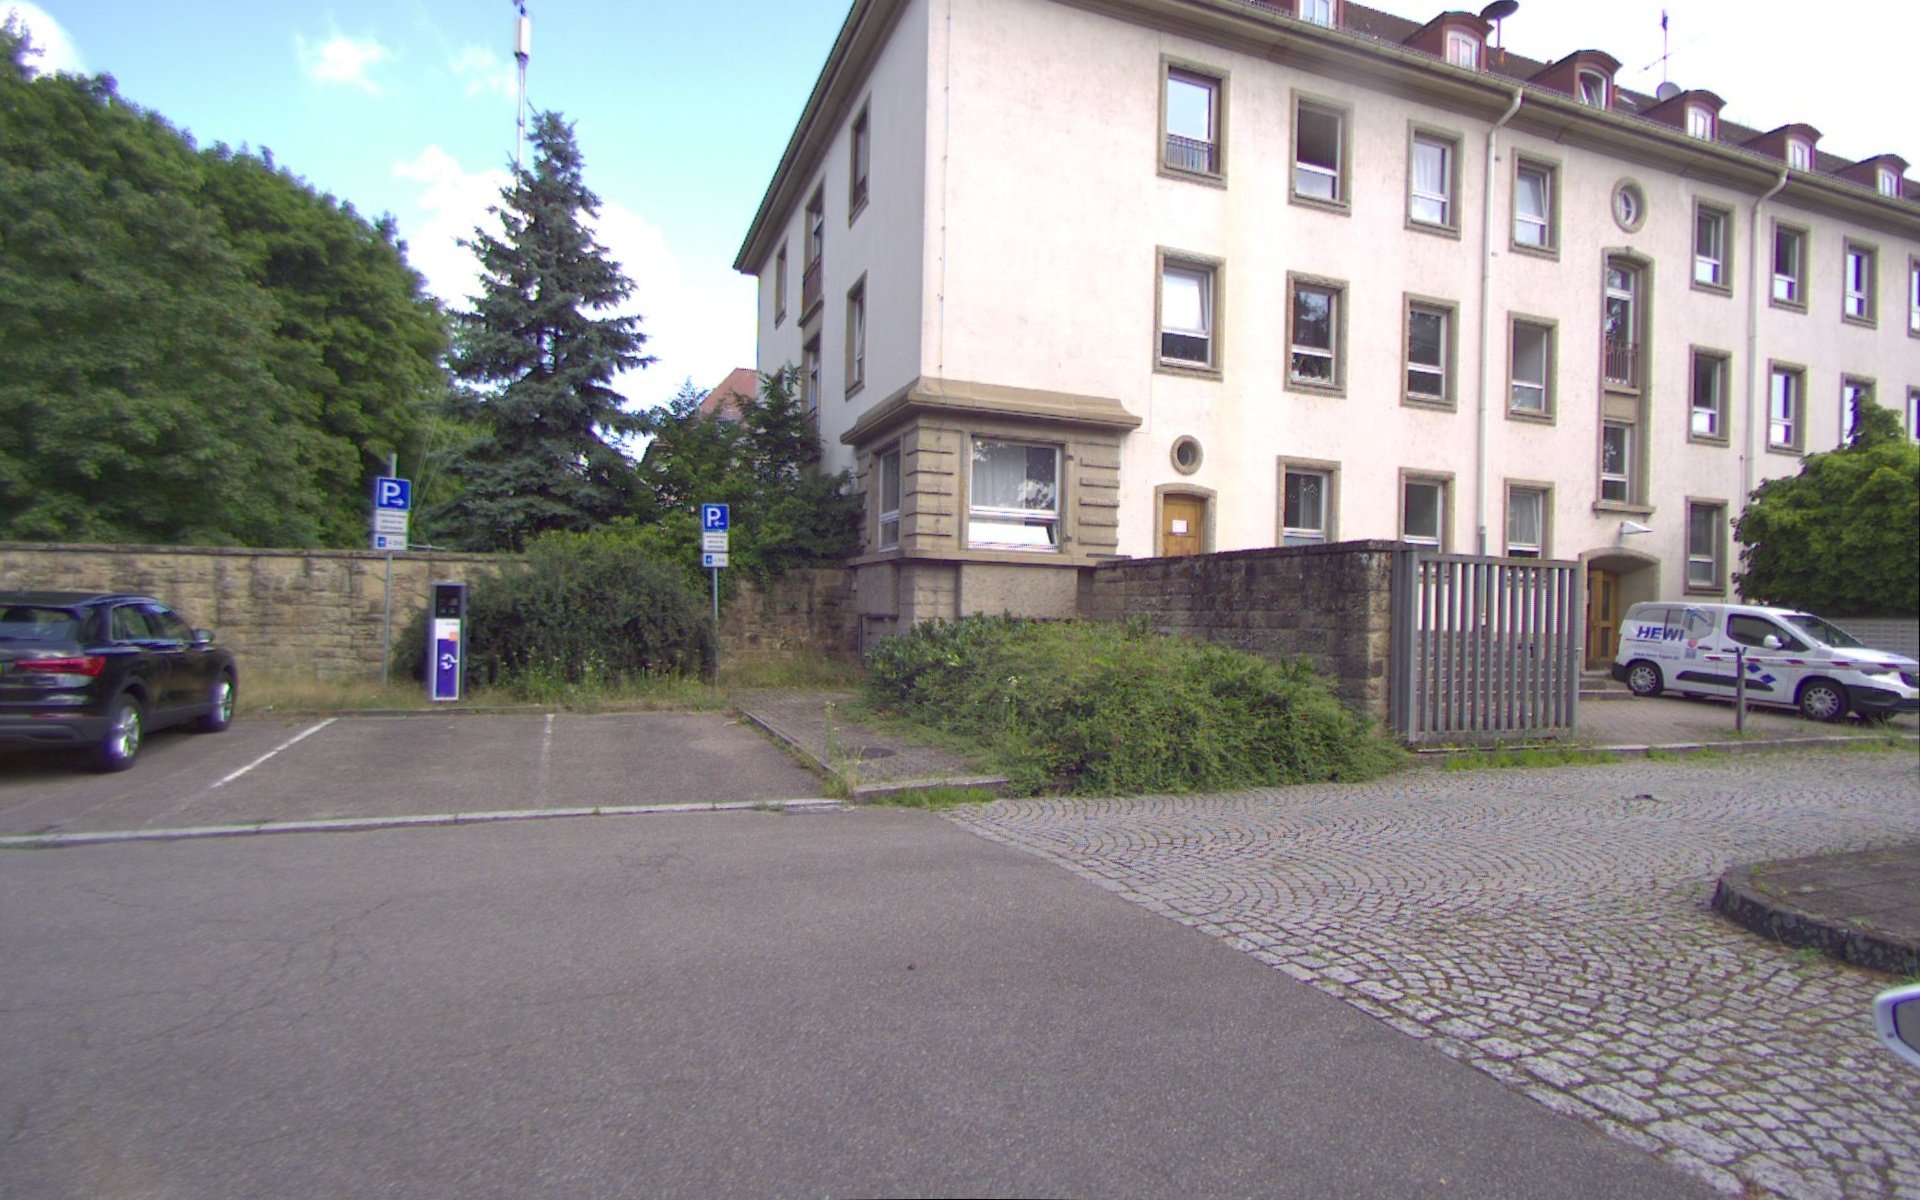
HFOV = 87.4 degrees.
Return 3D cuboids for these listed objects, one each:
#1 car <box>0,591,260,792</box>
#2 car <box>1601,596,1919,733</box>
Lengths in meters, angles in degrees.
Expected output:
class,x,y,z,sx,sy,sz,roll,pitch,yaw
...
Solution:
class,x,y,z,sx,sy,sz,roll,pitch,yaw
car,-8.713,0.733,9.933,1.870,1.567,3.983,1,1,-19
car,13.944,0.975,17.410,1.833,1.775,4.422,1,3,-25
